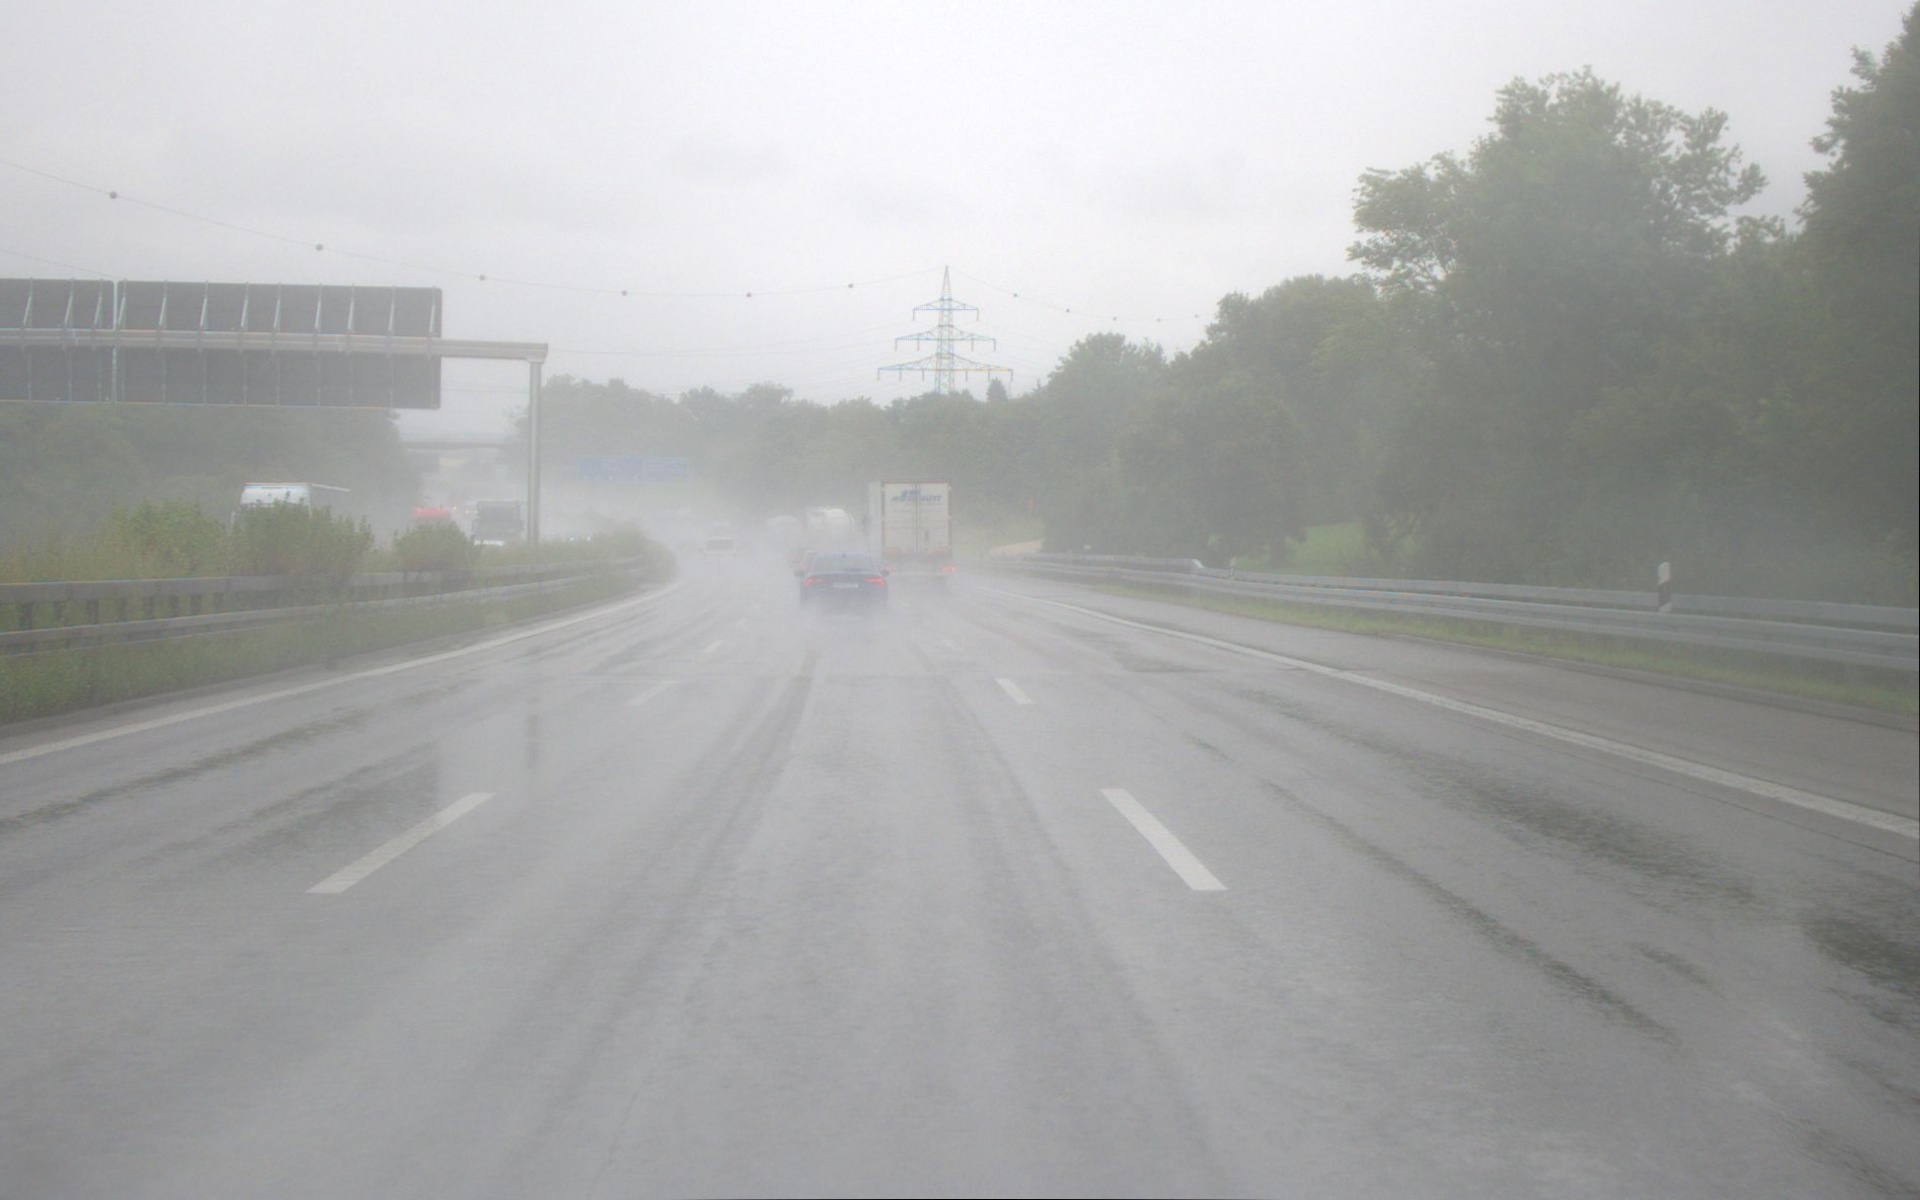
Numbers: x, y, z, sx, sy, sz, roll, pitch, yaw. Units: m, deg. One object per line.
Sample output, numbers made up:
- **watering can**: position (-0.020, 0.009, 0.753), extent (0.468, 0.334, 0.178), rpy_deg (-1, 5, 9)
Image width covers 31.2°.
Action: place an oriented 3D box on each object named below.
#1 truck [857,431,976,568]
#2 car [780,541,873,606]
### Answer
- **truck**: position (-1.810, -3.976, 135.054), extent (4.256, 4.955, 17.343), rpy_deg (-1, 2, -1)
- **car**: position (-2.720, -0.559, 70.738), extent (1.748, 1.208, 4.000), rpy_deg (2, 1, -1)
